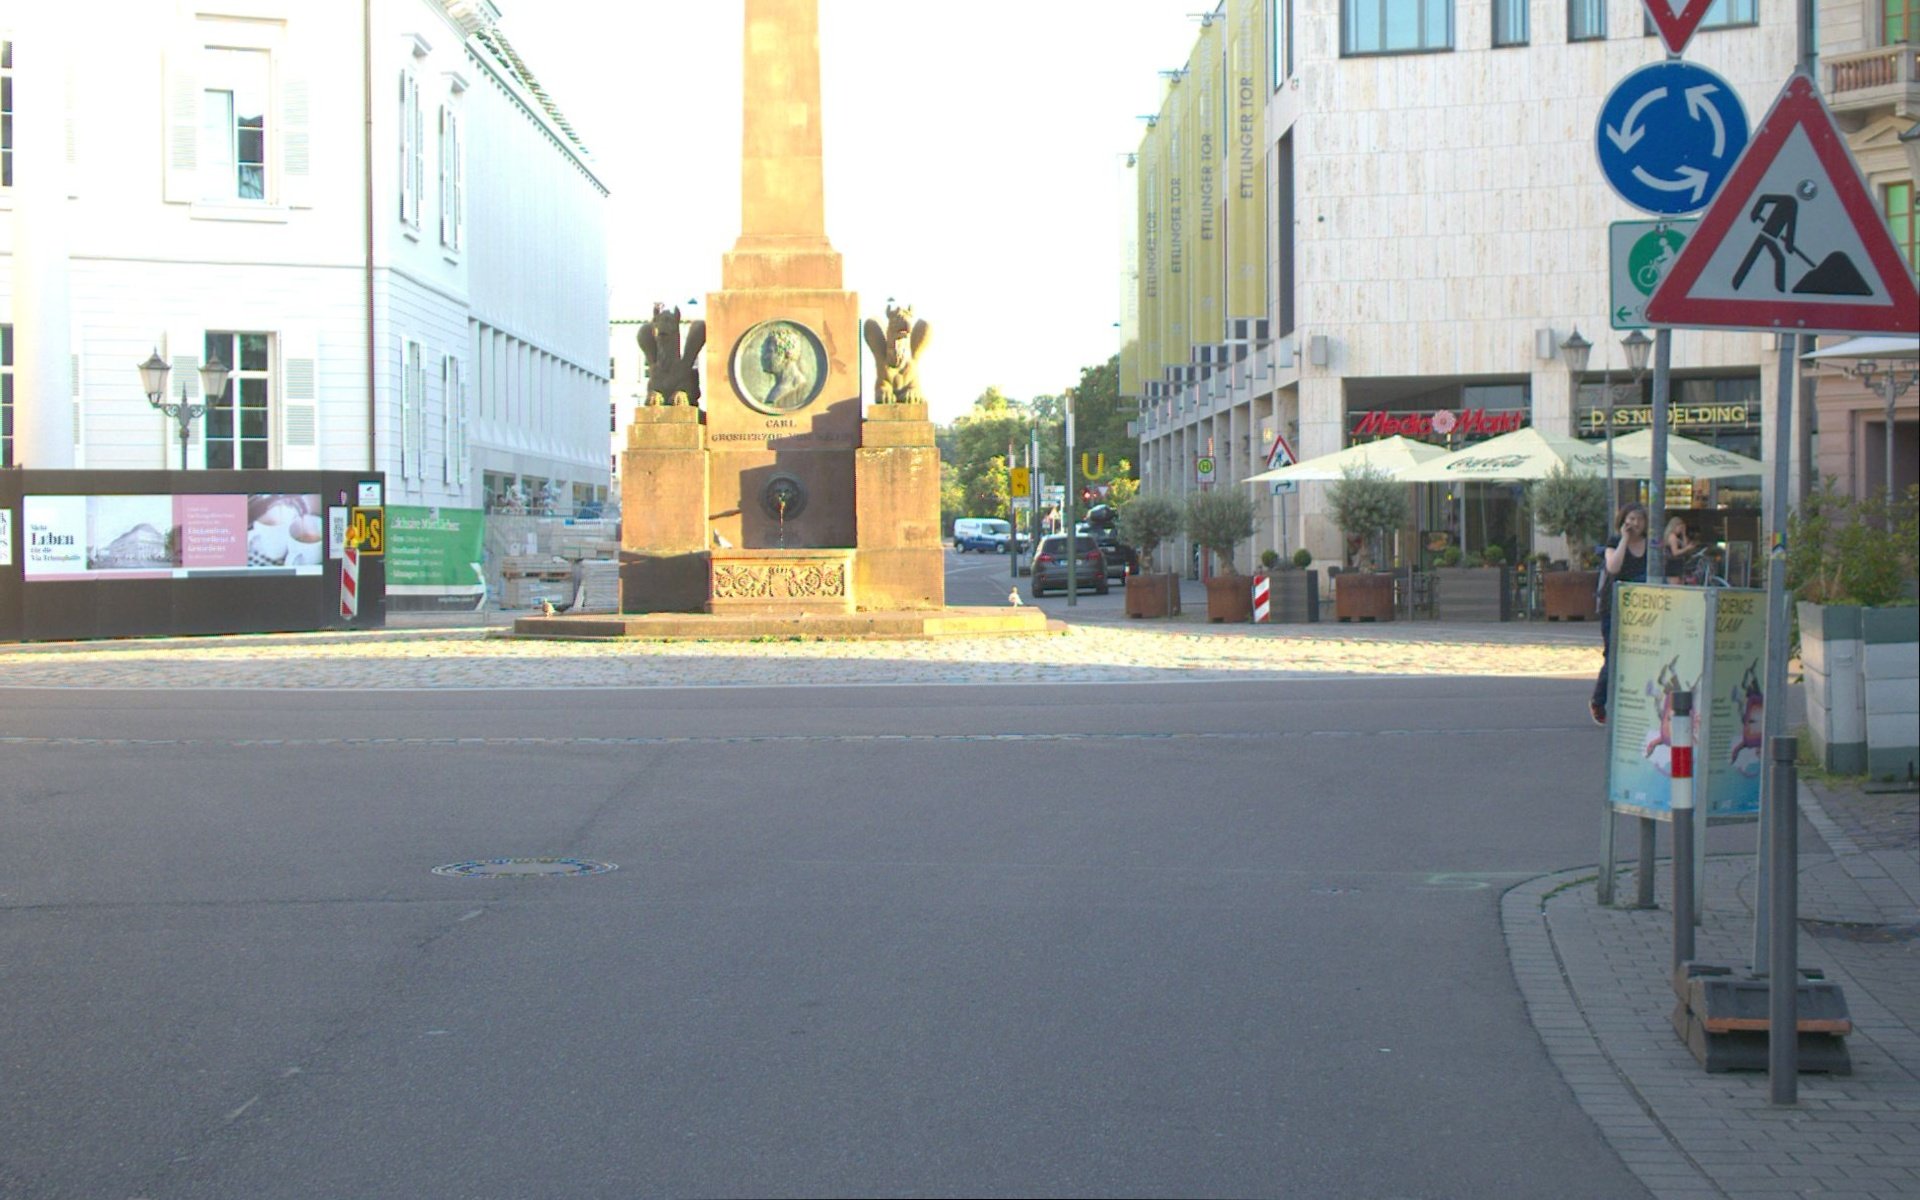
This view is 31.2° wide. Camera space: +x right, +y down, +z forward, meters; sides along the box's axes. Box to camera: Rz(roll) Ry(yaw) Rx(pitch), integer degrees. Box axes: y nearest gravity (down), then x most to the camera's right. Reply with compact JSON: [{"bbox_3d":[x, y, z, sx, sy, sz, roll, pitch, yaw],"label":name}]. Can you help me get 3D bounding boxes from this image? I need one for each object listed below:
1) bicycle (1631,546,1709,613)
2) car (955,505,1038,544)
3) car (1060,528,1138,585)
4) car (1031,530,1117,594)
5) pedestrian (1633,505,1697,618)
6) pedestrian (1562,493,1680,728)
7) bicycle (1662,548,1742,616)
[{"bbox_3d":[11.264,-0.327,54.492,0.601,1.028,1.642,0,2,35],"label":"bicycle"},{"bbox_3d":[1.942,-4.045,184.085,3.995,2.007,1.996,0,2,37],"label":"car"},{"bbox_3d":[3.642,-1.158,90.704,1.993,1.459,4.000,0,1,1],"label":"car"},{"bbox_3d":[2.707,-0.928,82.239,1.993,1.459,4.000,0,1,1],"label":"car"},{"bbox_3d":[10.873,-0.599,53.024,0.905,1.722,0.849,0,1,8],"label":"pedestrian"},{"bbox_3d":[4.703,0.066,24.480,0.690,1.642,0.696,0,1,-1],"label":"pedestrian"},{"bbox_3d":[11.652,-0.292,53.944,0.620,1.028,1.642,0,2,35],"label":"bicycle"}]
